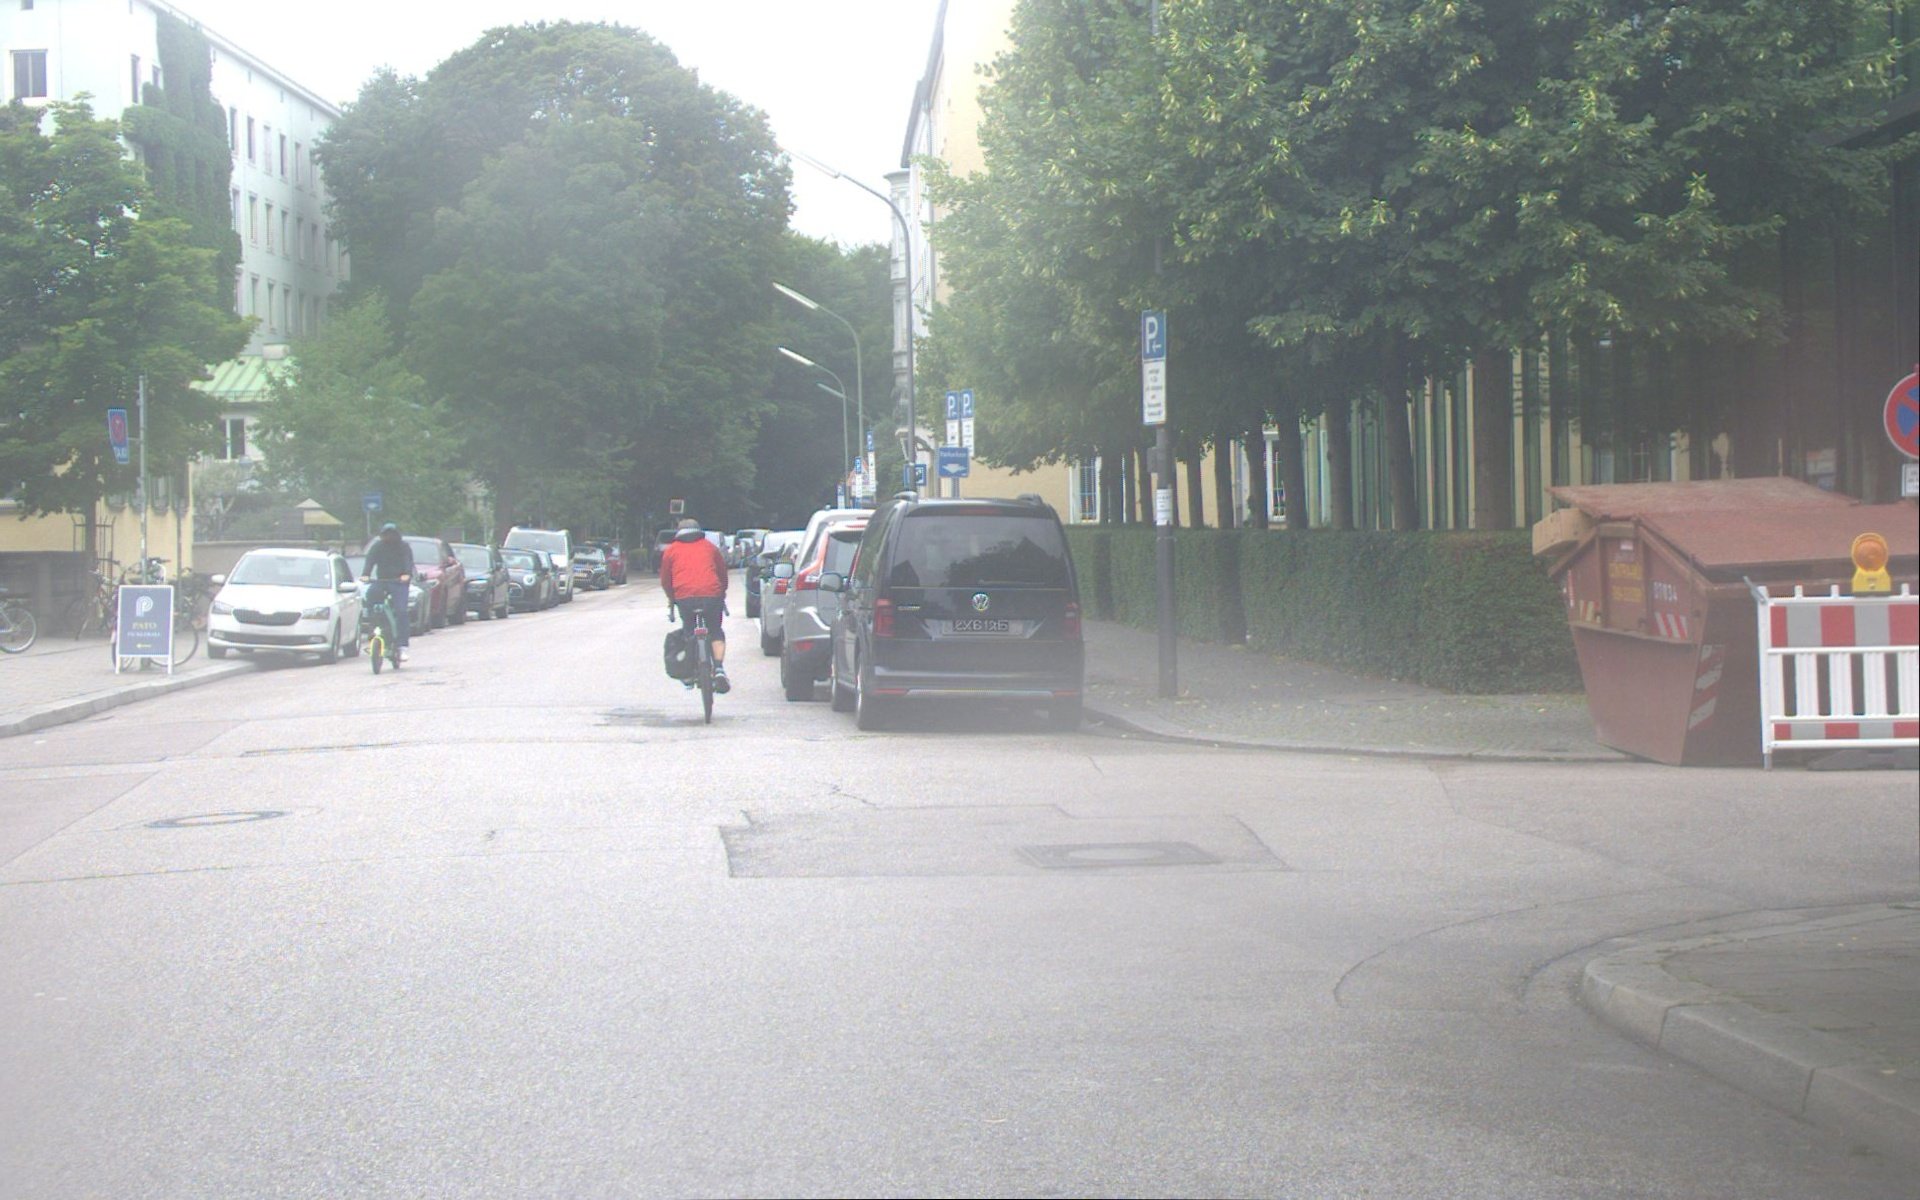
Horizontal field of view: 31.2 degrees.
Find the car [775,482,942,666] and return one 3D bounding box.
[{"bbox_3d":[-1.198,-0.338,38.921,1.749,1.936,4.228,-1,2,-3],"label":"car"}]

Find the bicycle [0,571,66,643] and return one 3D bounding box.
[{"bbox_3d":[-12.749,0.102,45.559,1.613,0.922,0.651,-1,0,-31],"label":"bicycle"}]

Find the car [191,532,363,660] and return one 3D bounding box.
[{"bbox_3d":[-9.091,-0.090,45.999,1.733,1.576,3.788,2,1,-4],"label":"car"}]

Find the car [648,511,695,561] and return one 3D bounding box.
[{"bbox_3d":[-12.639,-2.826,150.797,1.993,2.091,4.001,2,1,-5],"label":"car"}]

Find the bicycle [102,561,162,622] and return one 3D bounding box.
[{"bbox_3d":[-13.786,-0.145,57.280,0.621,1.001,1.619,0,0,-1],"label":"bicycle"}]

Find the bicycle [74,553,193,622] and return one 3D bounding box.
[{"bbox_3d":[-12.567,-0.192,52.284,1.614,1.001,0.623,-1,0,-35],"label":"bicycle"}]

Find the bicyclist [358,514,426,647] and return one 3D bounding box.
[{"bbox_3d":[-6.830,-0.243,41.372,0.743,1.570,0.977,-1,1,-7],"label":"bicyclist"}]

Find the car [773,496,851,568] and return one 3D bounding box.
[{"bbox_3d":[-4.417,-2.028,101.882,1.993,2.053,4.625,-1,1,-6],"label":"car"}]

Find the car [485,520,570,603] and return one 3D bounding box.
[{"bbox_3d":[-11.304,-1.043,90.129,1.993,2.072,4.001,-1,2,-4],"label":"car"}]

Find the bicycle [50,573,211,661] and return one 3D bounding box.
[{"bbox_3d":[-9.961,0.187,41.366,0.622,1.001,2.137,2,2,27],"label":"bicycle"}]

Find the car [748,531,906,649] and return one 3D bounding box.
[{"bbox_3d":[-1.767,-0.167,44.431,1.862,1.435,4.256,0,1,-4],"label":"car"}]

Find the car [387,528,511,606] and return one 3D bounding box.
[{"bbox_3d":[-10.464,-0.701,70.643,1.993,1.481,4.000,1,1,-1],"label":"car"}]

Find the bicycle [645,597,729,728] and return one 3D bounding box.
[{"bbox_3d":[-2.185,0.485,27.674,0.621,1.001,2.140,-1,0,-4],"label":"bicycle"}]

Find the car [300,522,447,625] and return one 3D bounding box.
[{"bbox_3d":[-9.937,-0.484,58.569,1.993,1.643,4.656,-1,1,-4],"label":"car"}]

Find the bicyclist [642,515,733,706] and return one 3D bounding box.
[{"bbox_3d":[-2.186,0.081,27.664,0.671,1.492,1.095,-1,0,-3],"label":"bicyclist"}]

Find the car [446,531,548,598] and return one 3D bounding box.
[{"bbox_3d":[-10.949,-0.864,81.533,1.993,1.481,4.001,-1,2,-2],"label":"car"}]

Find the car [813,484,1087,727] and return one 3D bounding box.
[{"bbox_3d":[-0.158,-0.011,27.940,1.760,1.817,4.140,0,1,-7],"label":"car"}]

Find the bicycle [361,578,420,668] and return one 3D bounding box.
[{"bbox_3d":[-6.808,0.257,41.160,0.621,1.001,2.141,-1,2,-8],"label":"bicycle"}]

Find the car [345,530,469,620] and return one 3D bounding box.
[{"bbox_3d":[-10.255,-0.462,63.951,1.993,1.597,4.001,-1,0,-5],"label":"car"}]

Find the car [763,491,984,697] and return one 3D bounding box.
[{"bbox_3d":[-0.892,-0.113,32.713,1.863,1.787,4.510,-1,2,-4],"label":"car"}]
